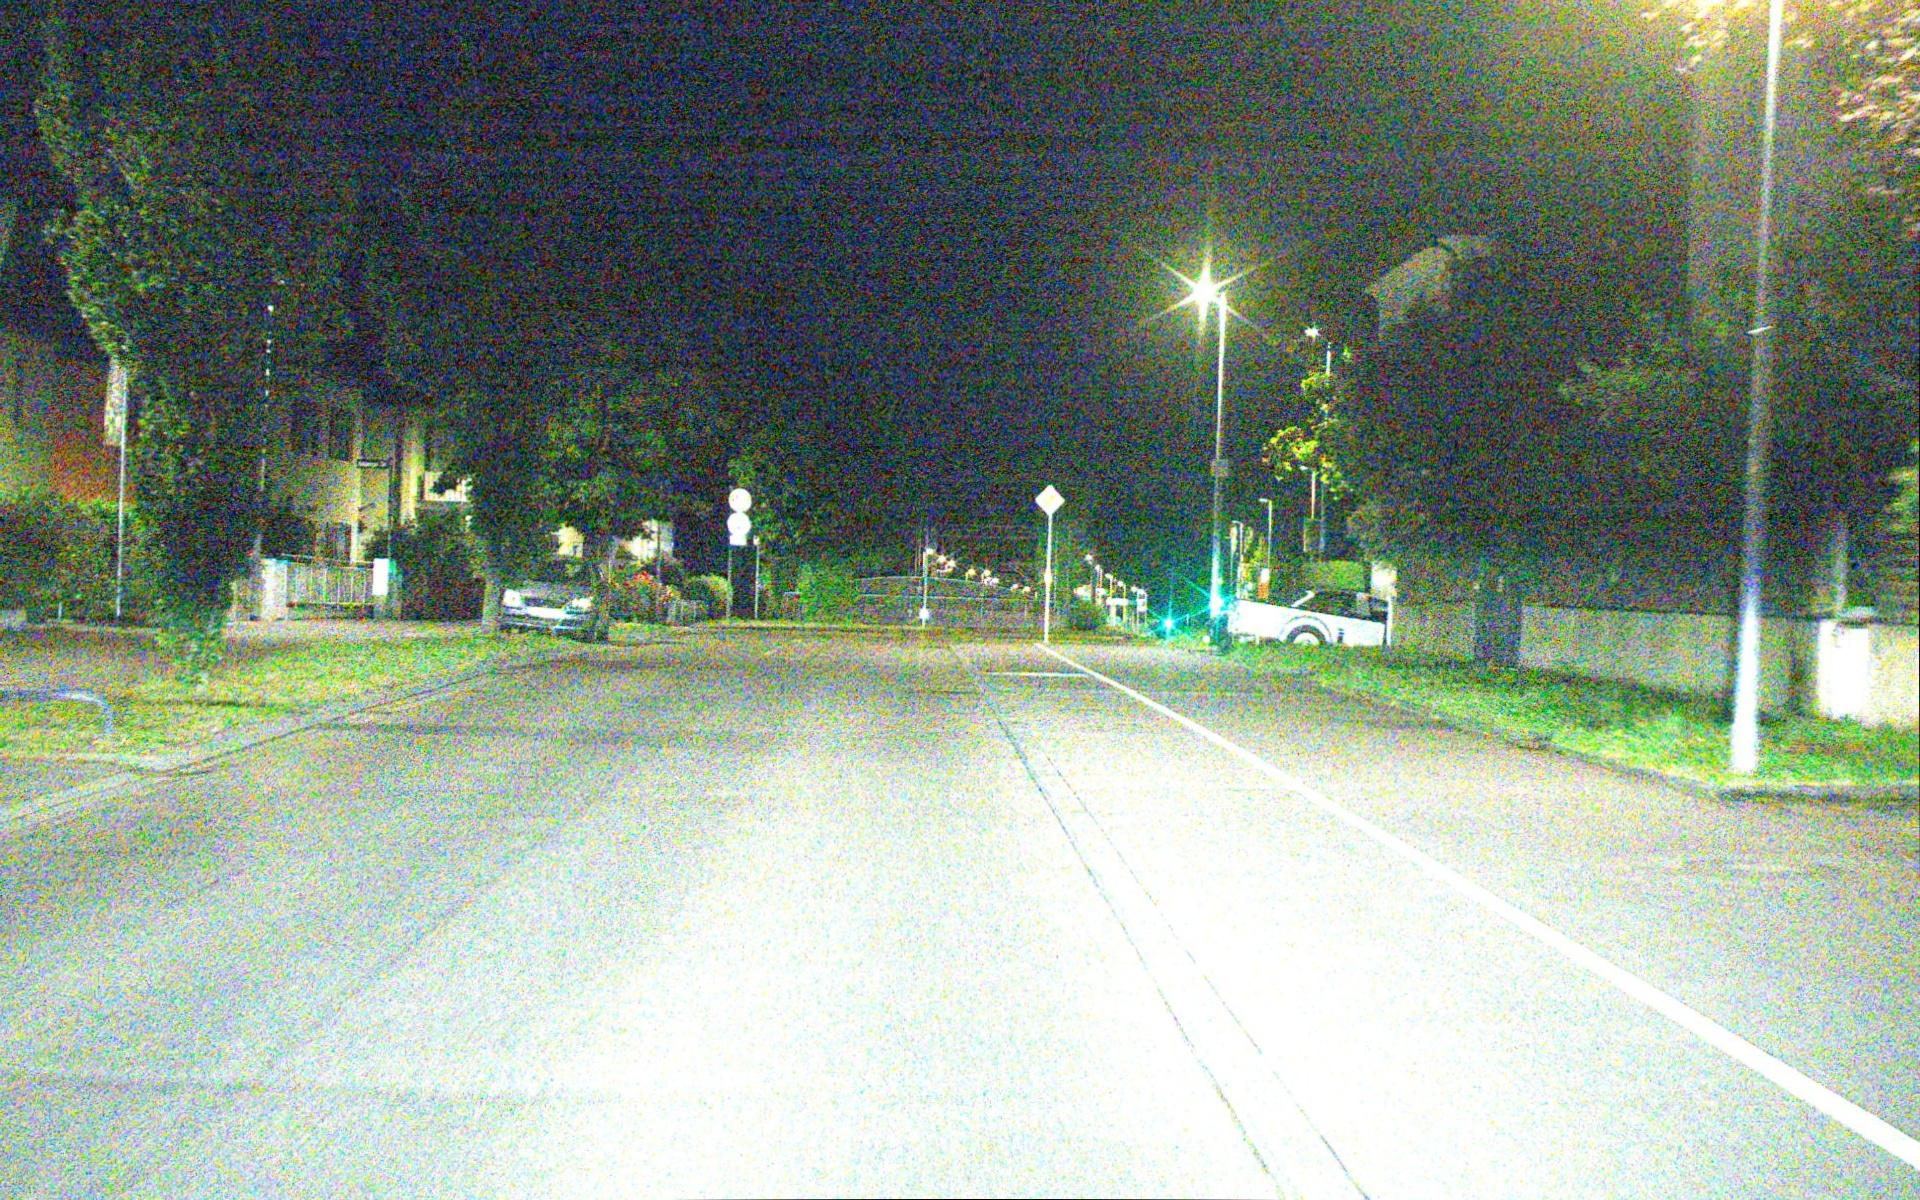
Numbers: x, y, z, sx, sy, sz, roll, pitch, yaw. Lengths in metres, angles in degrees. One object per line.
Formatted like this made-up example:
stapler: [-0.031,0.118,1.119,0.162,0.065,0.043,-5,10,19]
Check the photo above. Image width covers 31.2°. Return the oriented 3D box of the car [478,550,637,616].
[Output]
car: [-10.558,-0.439,90.288,3.716,1.621,1.781,1,0,18]

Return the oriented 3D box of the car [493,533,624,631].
car: [-6.960,-0.319,59.895,1.672,1.585,3.987,2,0,1]

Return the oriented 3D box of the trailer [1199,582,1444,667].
trailer: [5.492,0.366,52.558,3.432,0.999,1.954,5,0,-1]

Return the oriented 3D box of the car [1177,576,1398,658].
car: [5.363,0.266,56.555,3.391,1.228,1.725,1,1,-3]
